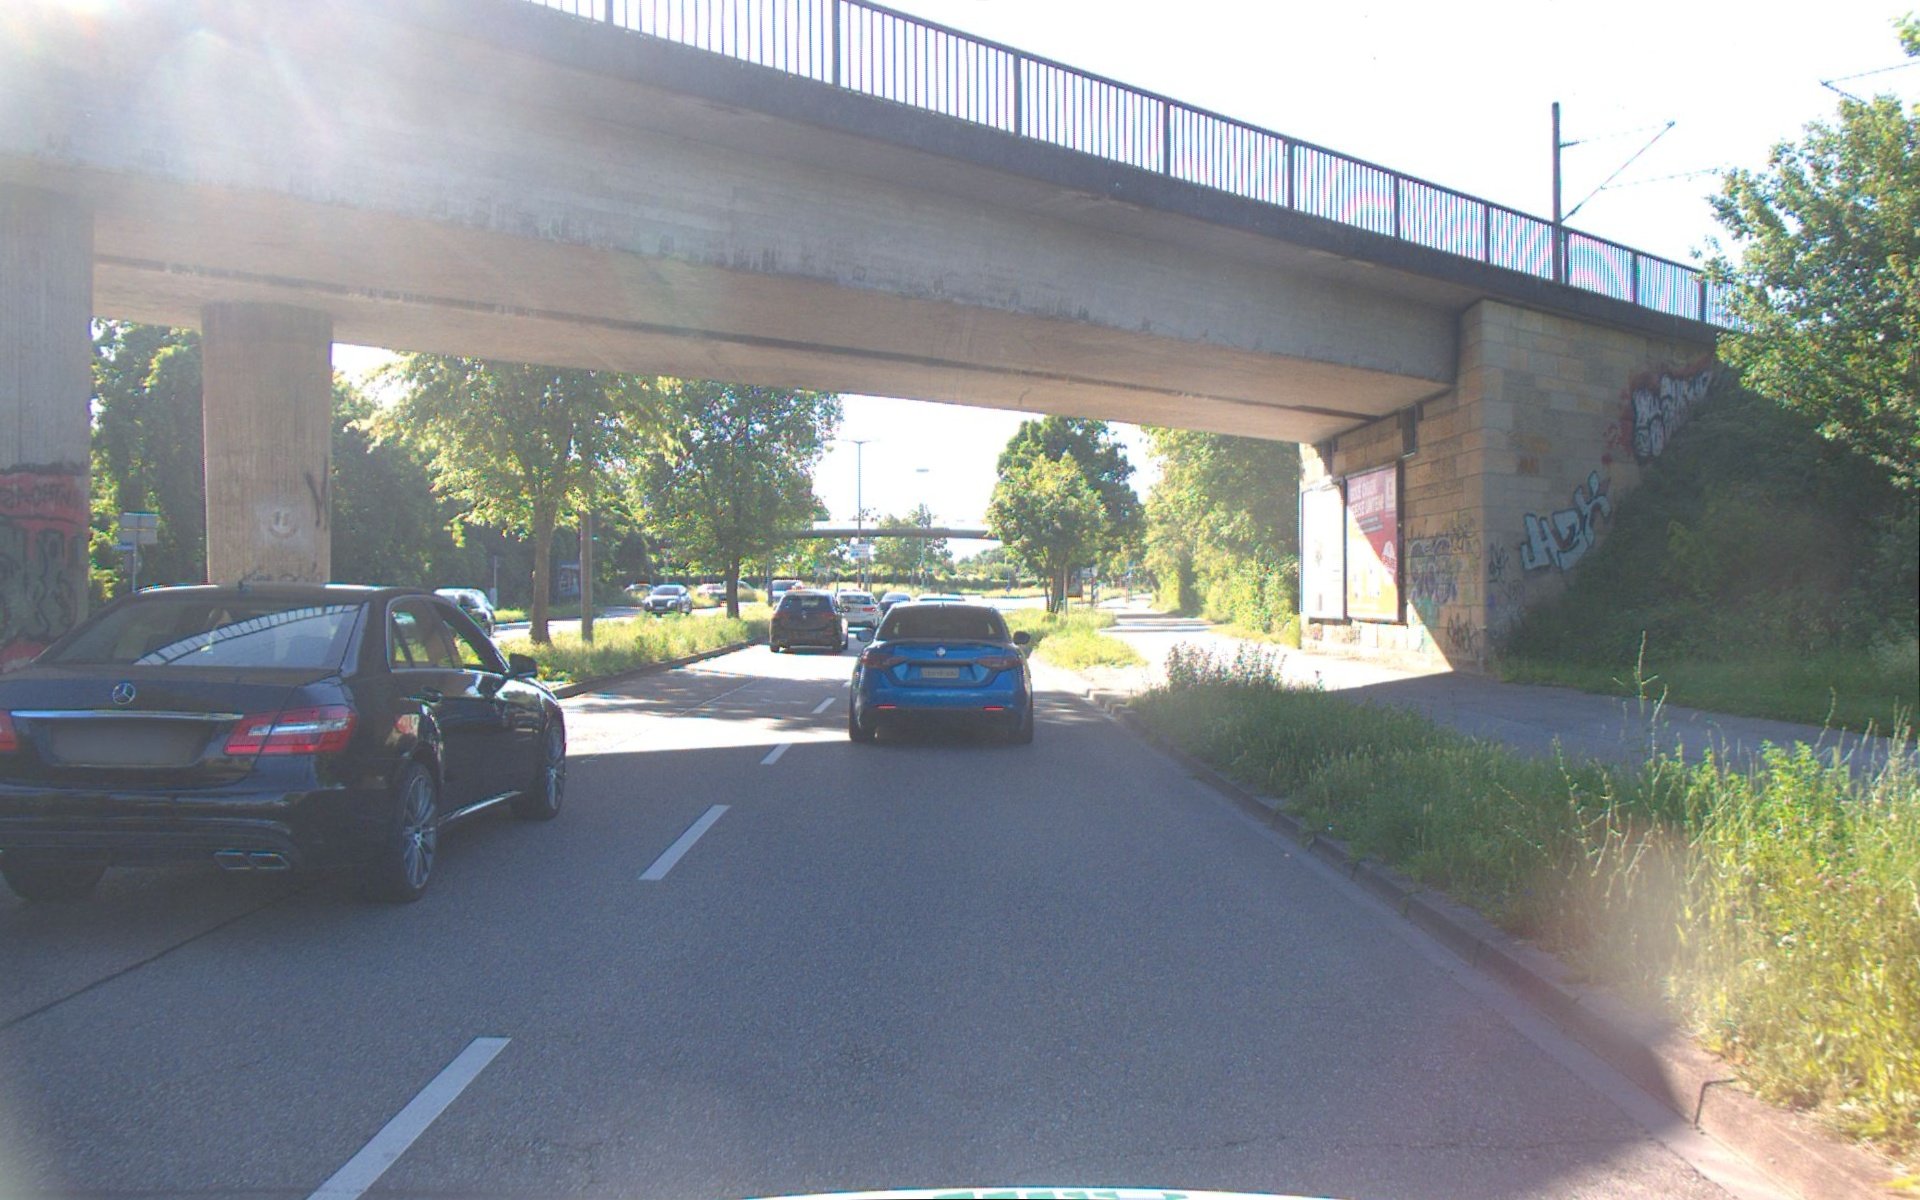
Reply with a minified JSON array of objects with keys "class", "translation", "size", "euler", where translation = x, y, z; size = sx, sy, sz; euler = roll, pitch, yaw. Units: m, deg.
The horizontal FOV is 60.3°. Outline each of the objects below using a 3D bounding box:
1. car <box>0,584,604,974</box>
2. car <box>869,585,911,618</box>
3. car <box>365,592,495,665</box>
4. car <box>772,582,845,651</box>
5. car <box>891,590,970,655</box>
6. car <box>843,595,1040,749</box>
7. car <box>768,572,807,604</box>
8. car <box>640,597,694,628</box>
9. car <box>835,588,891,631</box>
[{"class":"car","translation":[-3.405,0.684,8.887],"size":[1.919,1.509,4.918],"euler":[0,0,0]},{"class":"car","translation":[-3.287,0.059,78.523],"size":[1.845,1.479,4.525],"euler":[1,0,-1]},{"class":"car","translation":[-12.663,0.652,39.738],"size":[1.805,1.570,3.999],"euler":[-3,0,-1]},{"class":"car","translation":[-3.778,0.400,41.765],"size":[1.674,1.626,4.221],"euler":[1,0,-3]},{"class":"car","translation":[-0.727,0.529,41.200],"size":[1.845,1.479,4.525],"euler":[1,0,-1]},{"class":"car","translation":[-0.202,0.688,17.857],"size":[1.845,1.431,4.223],"euler":[1,0,-1]},{"class":"car","translation":[-10.890,-0.715,104.690],"size":[1.953,1.963,5.244],"euler":[0,0,-1]},{"class":"car","translation":[-15.396,0.635,87.069],"size":[1.942,1.579,4.592],"euler":[1,0,0]},{"class":"car","translation":[-3.539,0.345,60.940],"size":[1.845,1.479,4.525],"euler":[1,0,-1]}]
